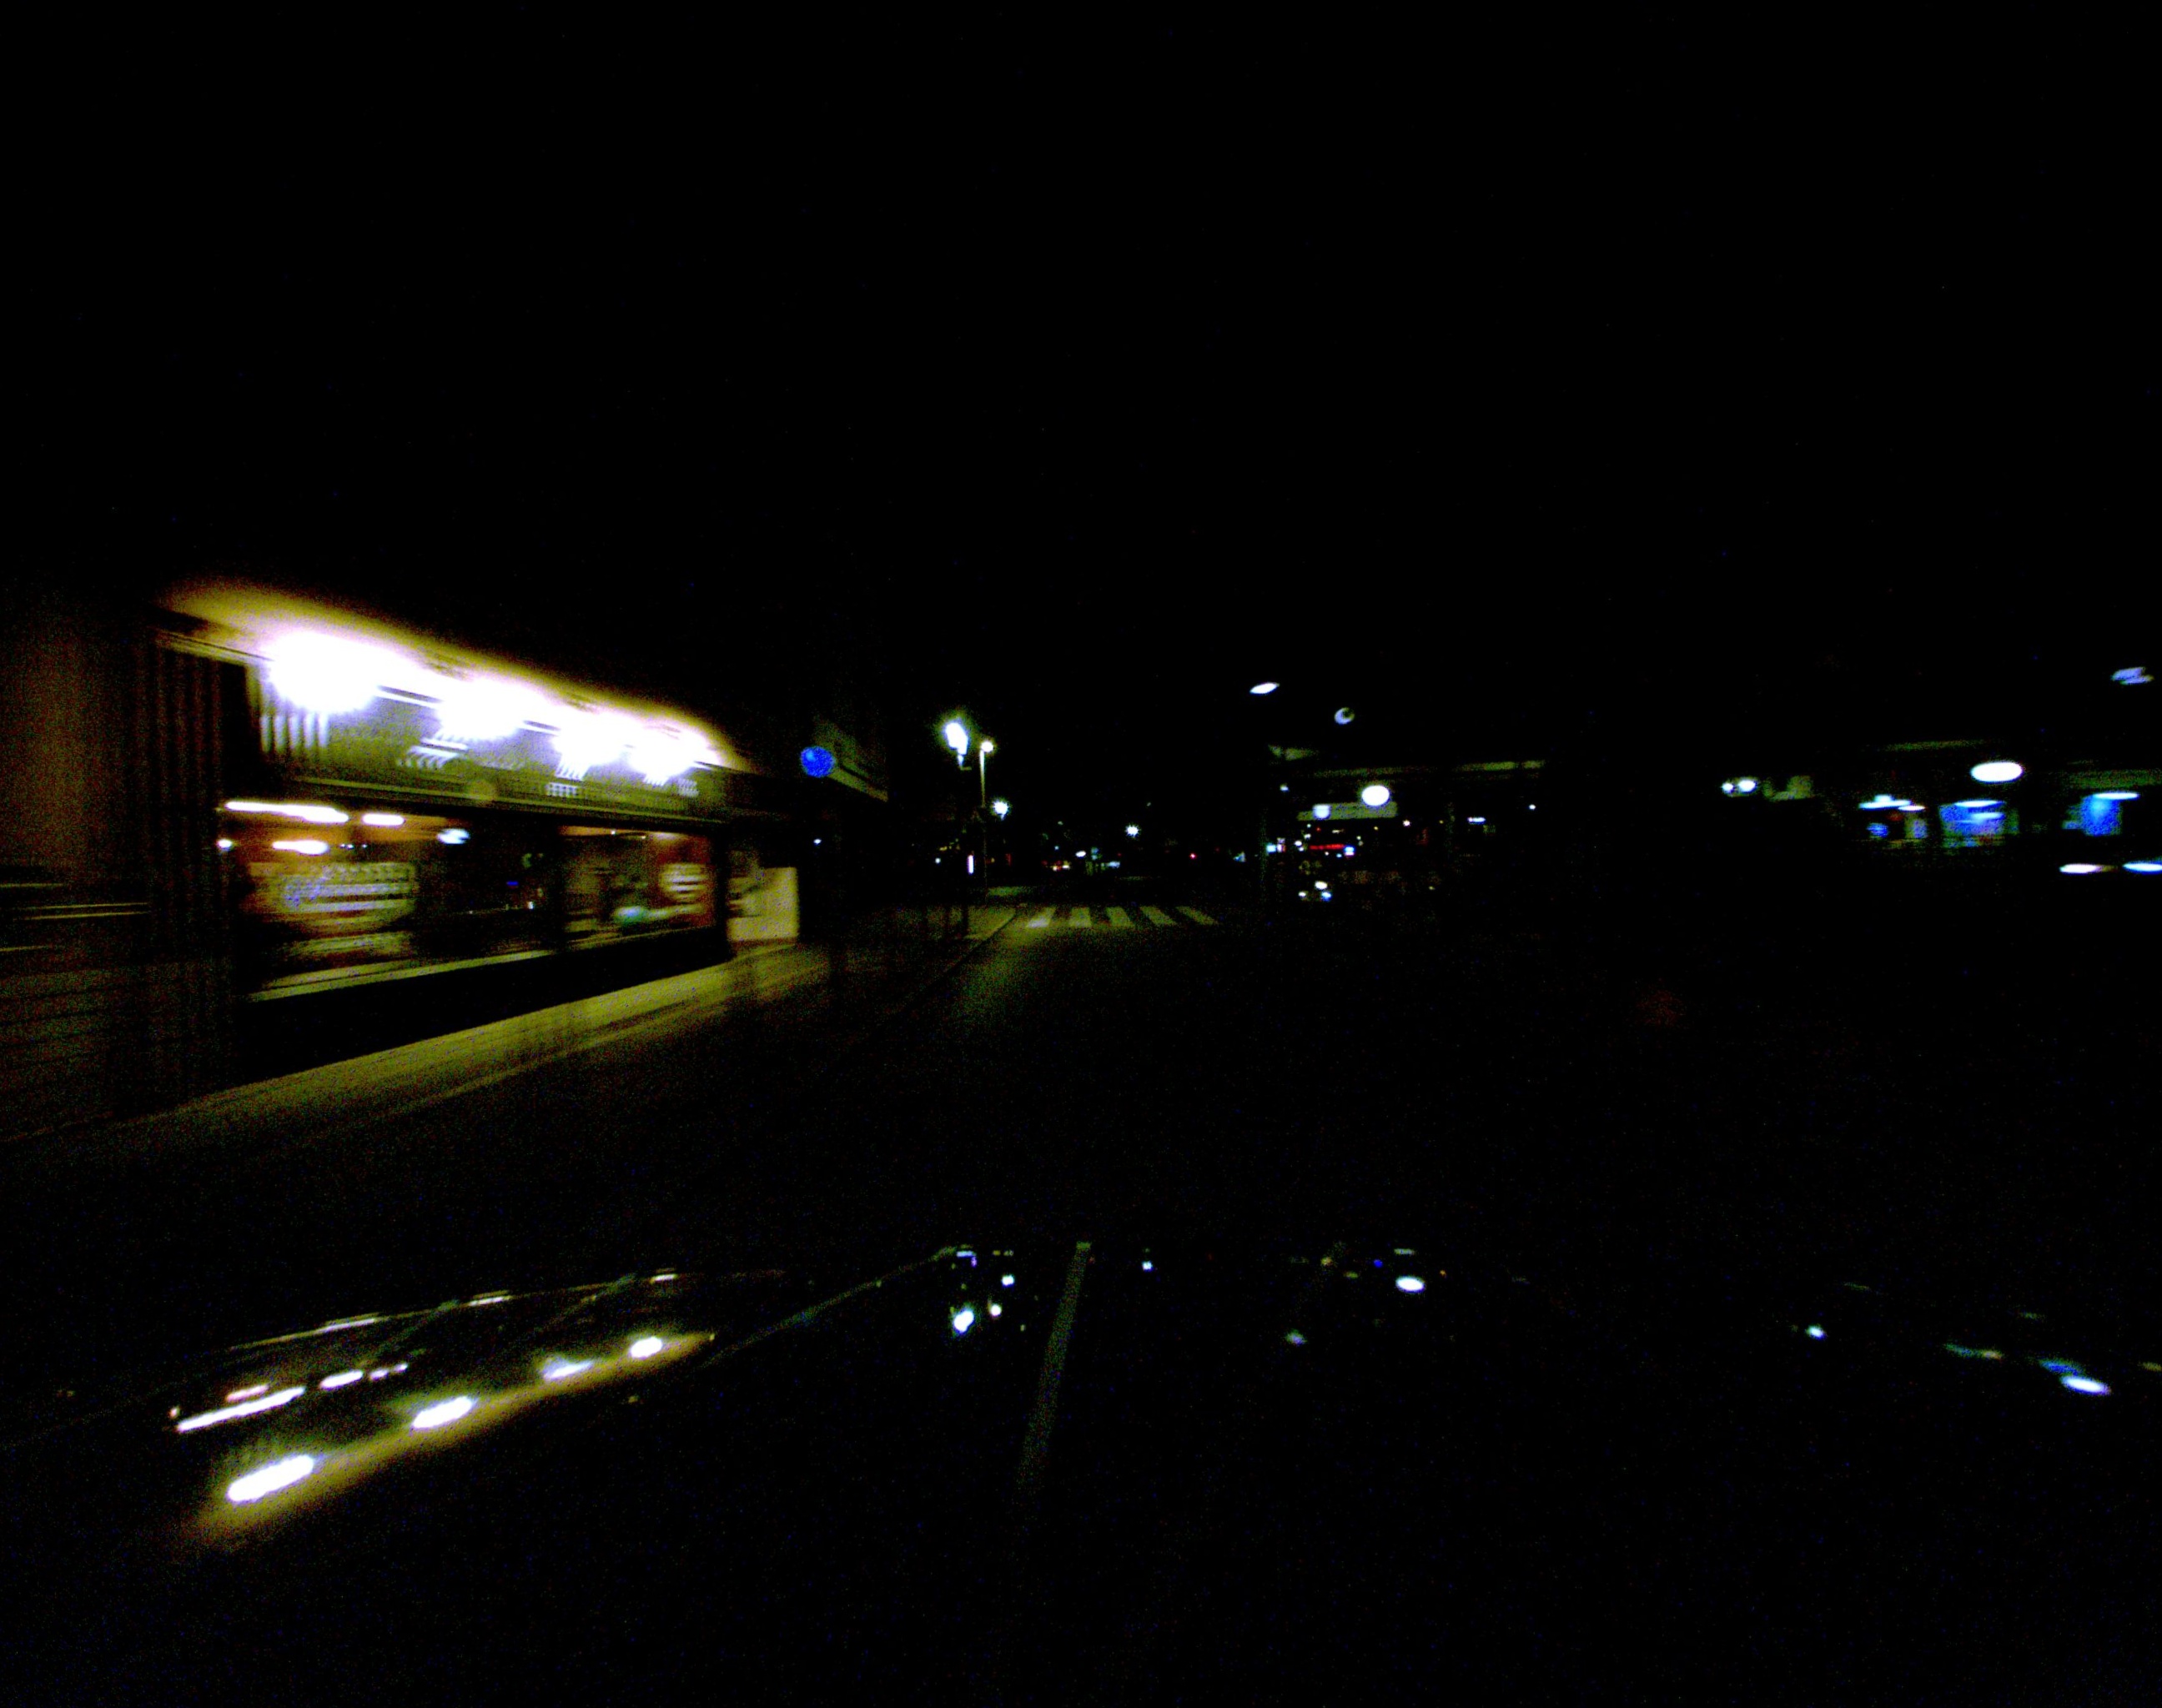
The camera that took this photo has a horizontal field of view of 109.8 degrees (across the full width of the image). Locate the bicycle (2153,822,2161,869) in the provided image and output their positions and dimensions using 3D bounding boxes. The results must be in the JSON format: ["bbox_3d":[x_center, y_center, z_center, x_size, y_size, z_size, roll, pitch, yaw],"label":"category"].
[{"bbox_3d":[31.364,-0.233,20.691,0.775,1.356,2.510,-1,1,0],"label":"bicycle"}]

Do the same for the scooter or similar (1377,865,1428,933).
[{"bbox_3d":[6.248,0.848,14.834,0.370,1.256,1.449,-3,-1,2],"label":"scooter or similar"}]

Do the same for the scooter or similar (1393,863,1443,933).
[{"bbox_3d":[6.551,0.832,14.832,0.318,1.280,1.449,-3,-1,2],"label":"scooter or similar"}]
